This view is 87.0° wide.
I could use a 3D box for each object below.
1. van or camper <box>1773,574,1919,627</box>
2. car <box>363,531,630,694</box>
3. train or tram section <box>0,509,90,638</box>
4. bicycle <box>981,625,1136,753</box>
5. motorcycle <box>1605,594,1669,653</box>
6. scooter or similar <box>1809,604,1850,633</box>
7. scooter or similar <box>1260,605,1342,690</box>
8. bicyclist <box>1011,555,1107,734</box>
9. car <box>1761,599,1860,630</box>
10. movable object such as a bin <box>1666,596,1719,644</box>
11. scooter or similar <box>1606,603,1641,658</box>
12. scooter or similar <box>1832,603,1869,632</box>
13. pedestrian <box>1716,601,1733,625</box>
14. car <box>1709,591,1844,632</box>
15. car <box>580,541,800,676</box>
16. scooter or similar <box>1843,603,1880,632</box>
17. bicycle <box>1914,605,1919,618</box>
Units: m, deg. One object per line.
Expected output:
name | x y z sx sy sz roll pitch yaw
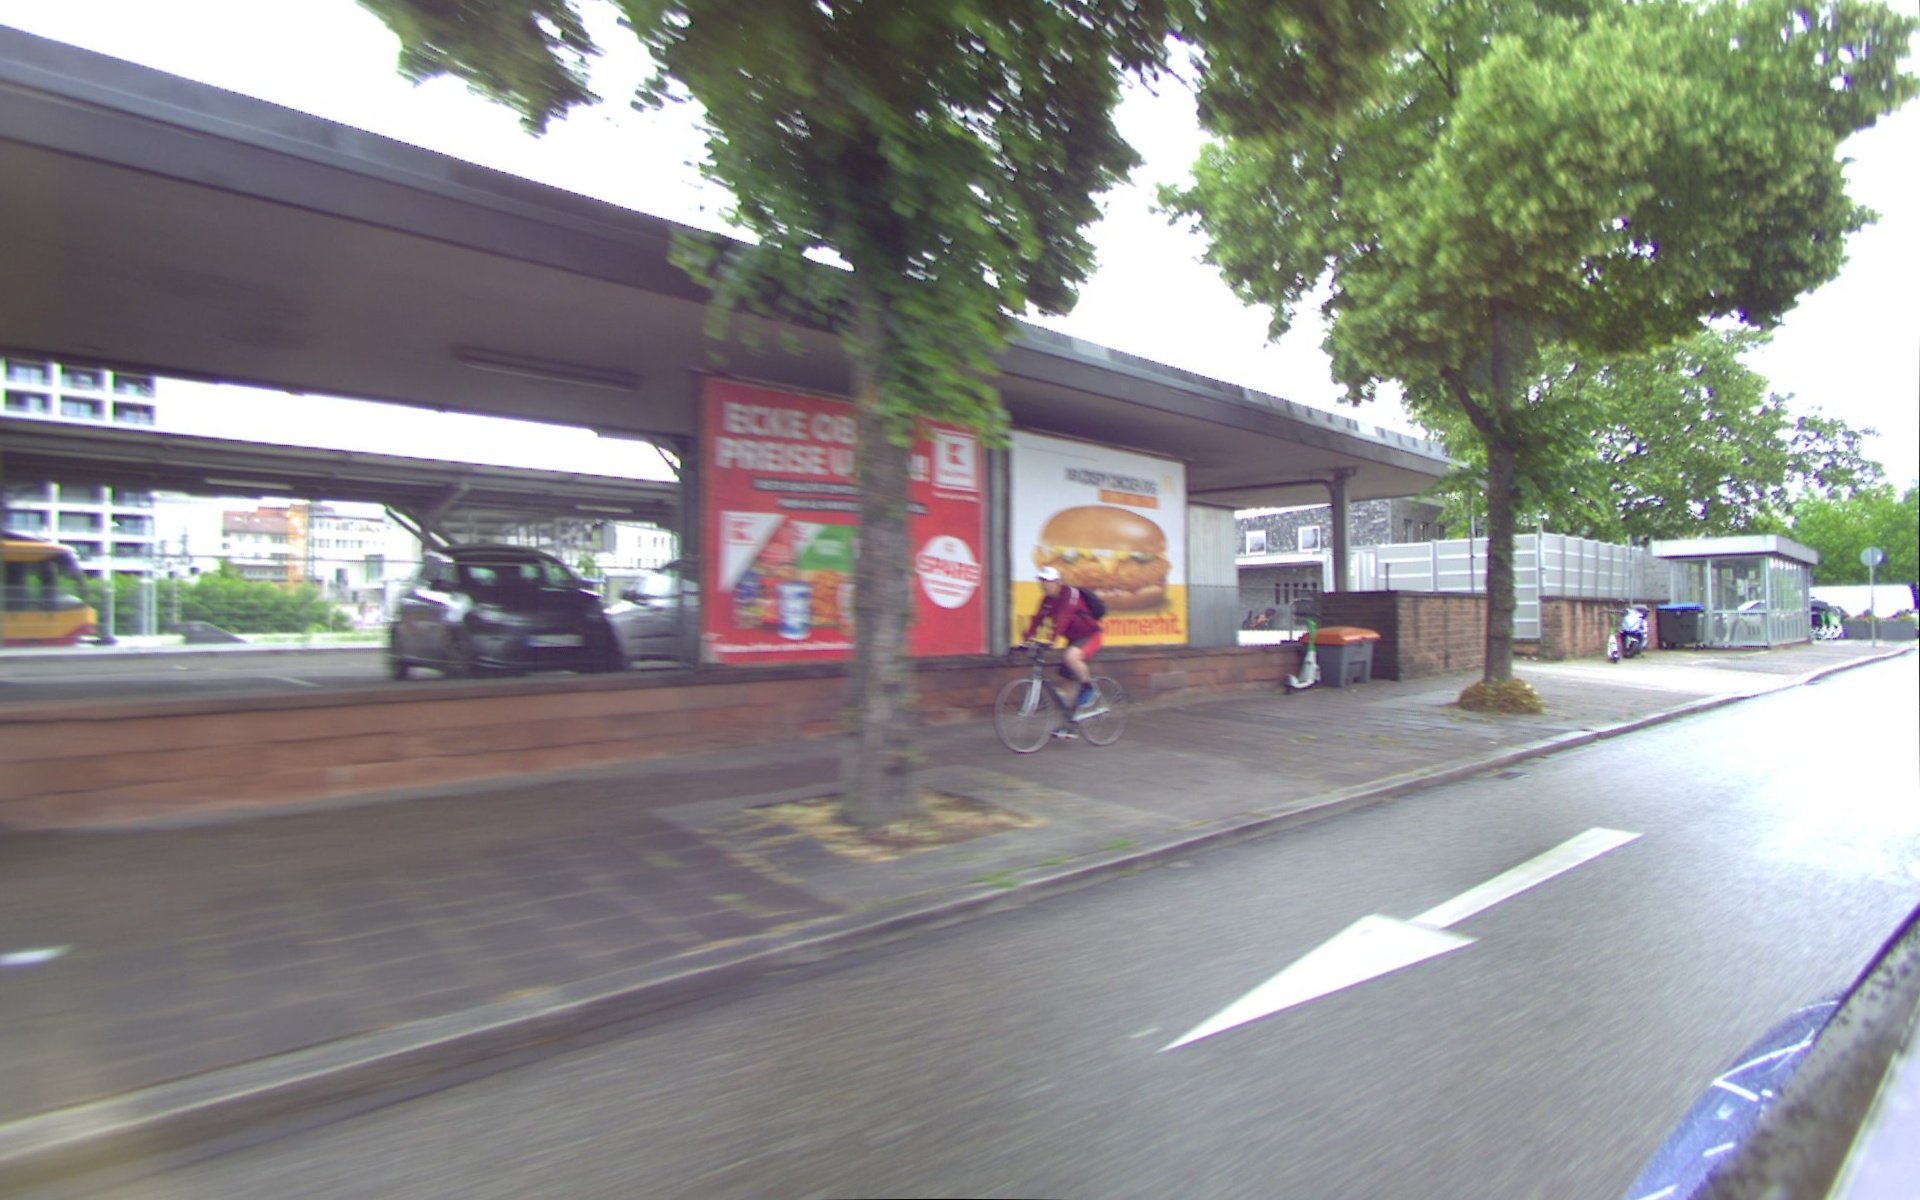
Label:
van or camper | 50.316 0.026 57.145 6.445 2.906 2.266 0 0 19
car | -5.412 0.088 11.592 1.717 1.562 3.686 0 1 -43
train or tram section | -27.648 -0.690 24.929 9.360 3.323 2.657 0 1 -43
bicycle | 0.942 0.777 9.349 1.650 1.029 0.446 0 2 -44
motorcycle | 16.286 0.538 24.326 2.416 1.365 0.792 0 0 -44
scooter or similar | 36.552 0.769 42.542 1.638 1.170 1.066 -1 -1 -41
scooter or similar | 4.989 0.661 14.764 1.520 1.167 0.493 0 0 -44
bicyclist | 0.903 0.378 9.241 0.683 1.557 0.534 0 1 -44
car | 44.167 0.749 52.670 3.549 1.544 1.749 0 0 23
movable object such as a bin | 21.106 0.560 29.161 1.295 1.355 1.035 0 0 -43
scooter or similar | 14.861 0.667 22.685 0.490 1.167 1.698 0 0 28
scooter or similar | 37.346 0.743 42.451 1.237 1.170 0.414 -1 -2 -10
pedestrian | 51.829 0.874 68.612 0.819 1.662 0.757 1 -1 -43
car | 39.707 0.544 49.347 4.635 1.898 2.097 0 0 17
car | -3.756 0.073 13.689 1.714 1.562 3.569 0 1 -36
scooter or similar | 37.428 0.725 42.011 1.237 1.170 0.414 -1 -2 -10
bicycle | 79.350 0.976 82.911 1.711 1.059 0.518 1 1 38
